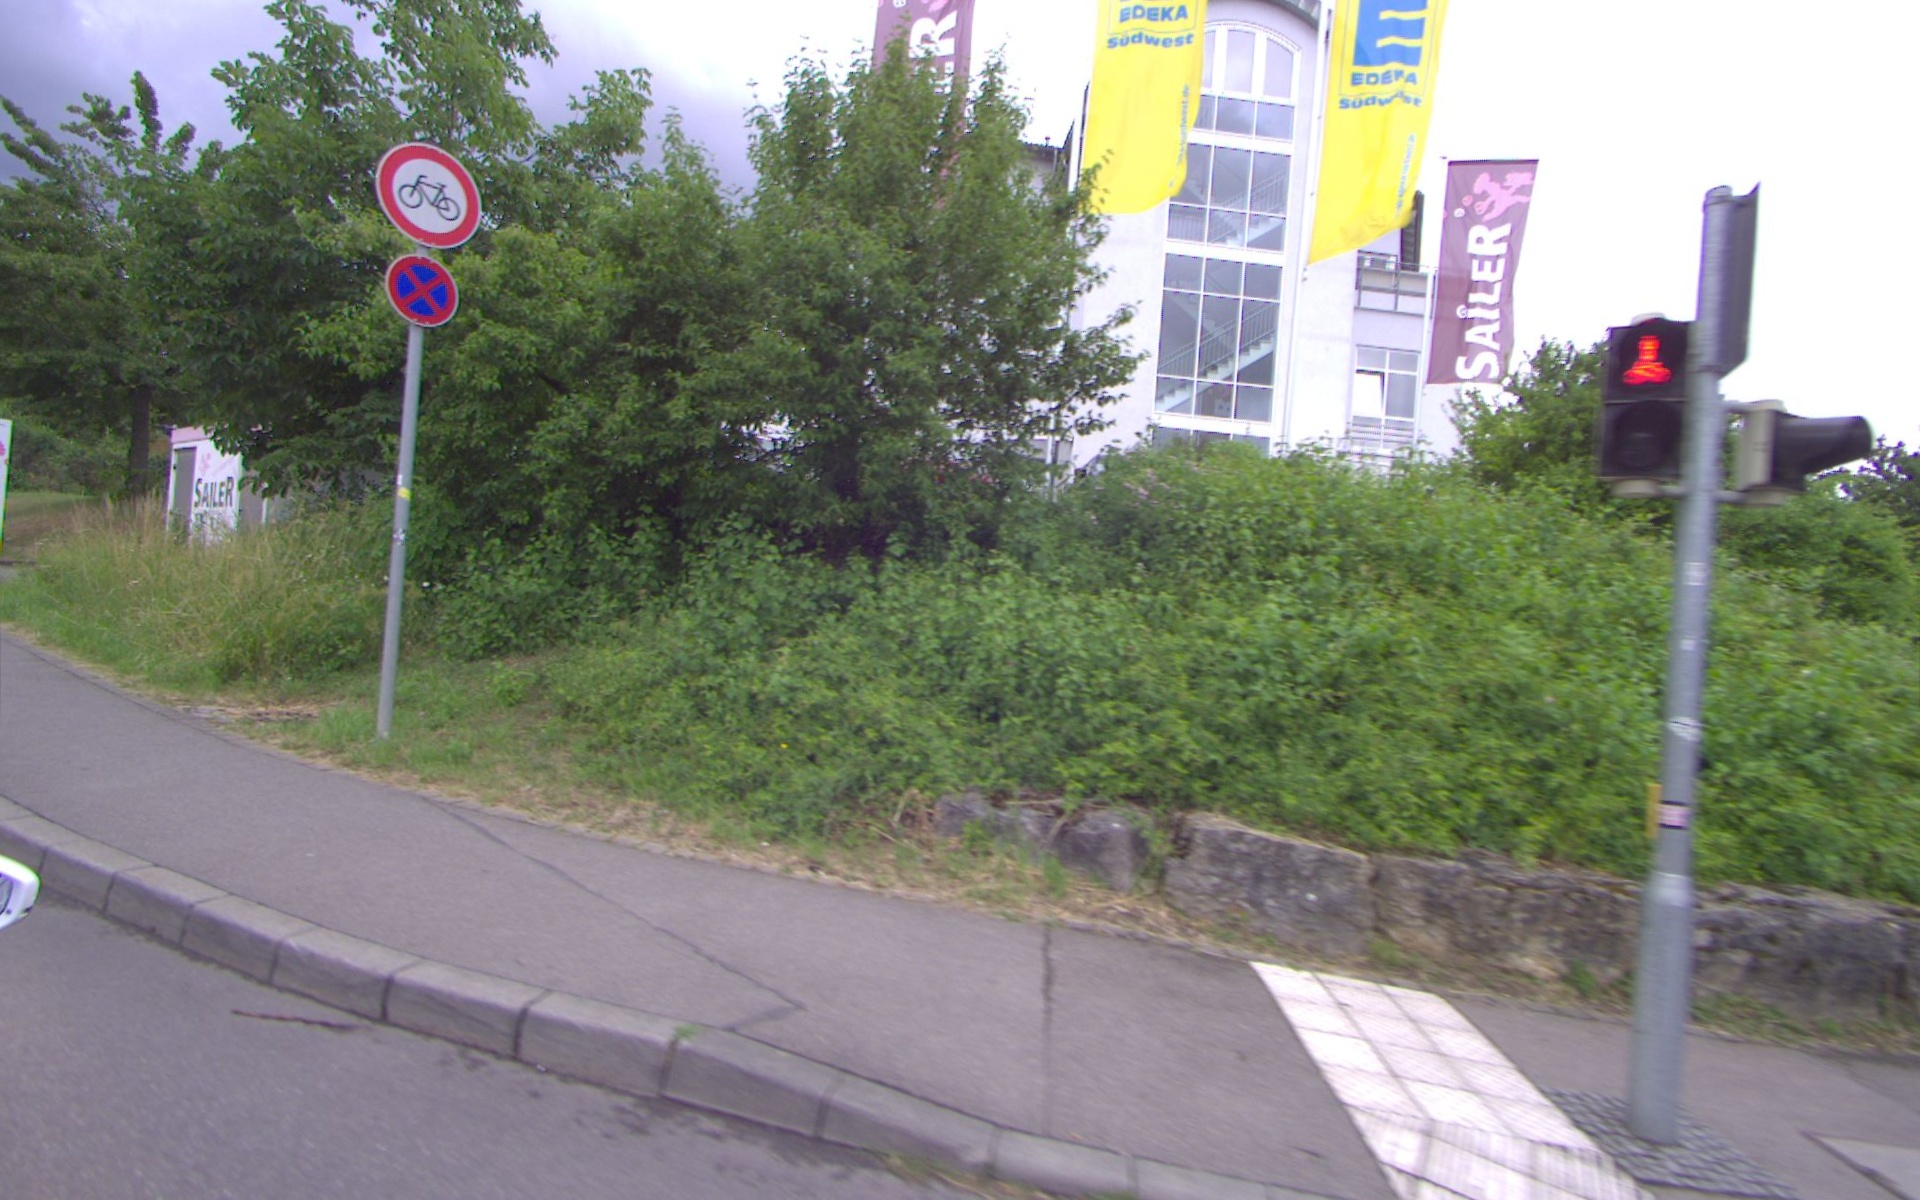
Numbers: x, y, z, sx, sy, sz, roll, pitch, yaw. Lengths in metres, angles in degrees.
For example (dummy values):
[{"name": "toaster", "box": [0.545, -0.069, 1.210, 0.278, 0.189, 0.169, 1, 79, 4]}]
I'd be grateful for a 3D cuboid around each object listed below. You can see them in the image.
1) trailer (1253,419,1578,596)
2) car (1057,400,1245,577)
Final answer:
[{"name": "trailer", "box": [10.545, -2.028, 23.595, 6.378, 3.090, 2.470, 6, -2, -6]}, {"name": "car", "box": [2.555, -1.416, 14.544, 1.797, 1.657, 4.517, 6, -3, 1]}]
